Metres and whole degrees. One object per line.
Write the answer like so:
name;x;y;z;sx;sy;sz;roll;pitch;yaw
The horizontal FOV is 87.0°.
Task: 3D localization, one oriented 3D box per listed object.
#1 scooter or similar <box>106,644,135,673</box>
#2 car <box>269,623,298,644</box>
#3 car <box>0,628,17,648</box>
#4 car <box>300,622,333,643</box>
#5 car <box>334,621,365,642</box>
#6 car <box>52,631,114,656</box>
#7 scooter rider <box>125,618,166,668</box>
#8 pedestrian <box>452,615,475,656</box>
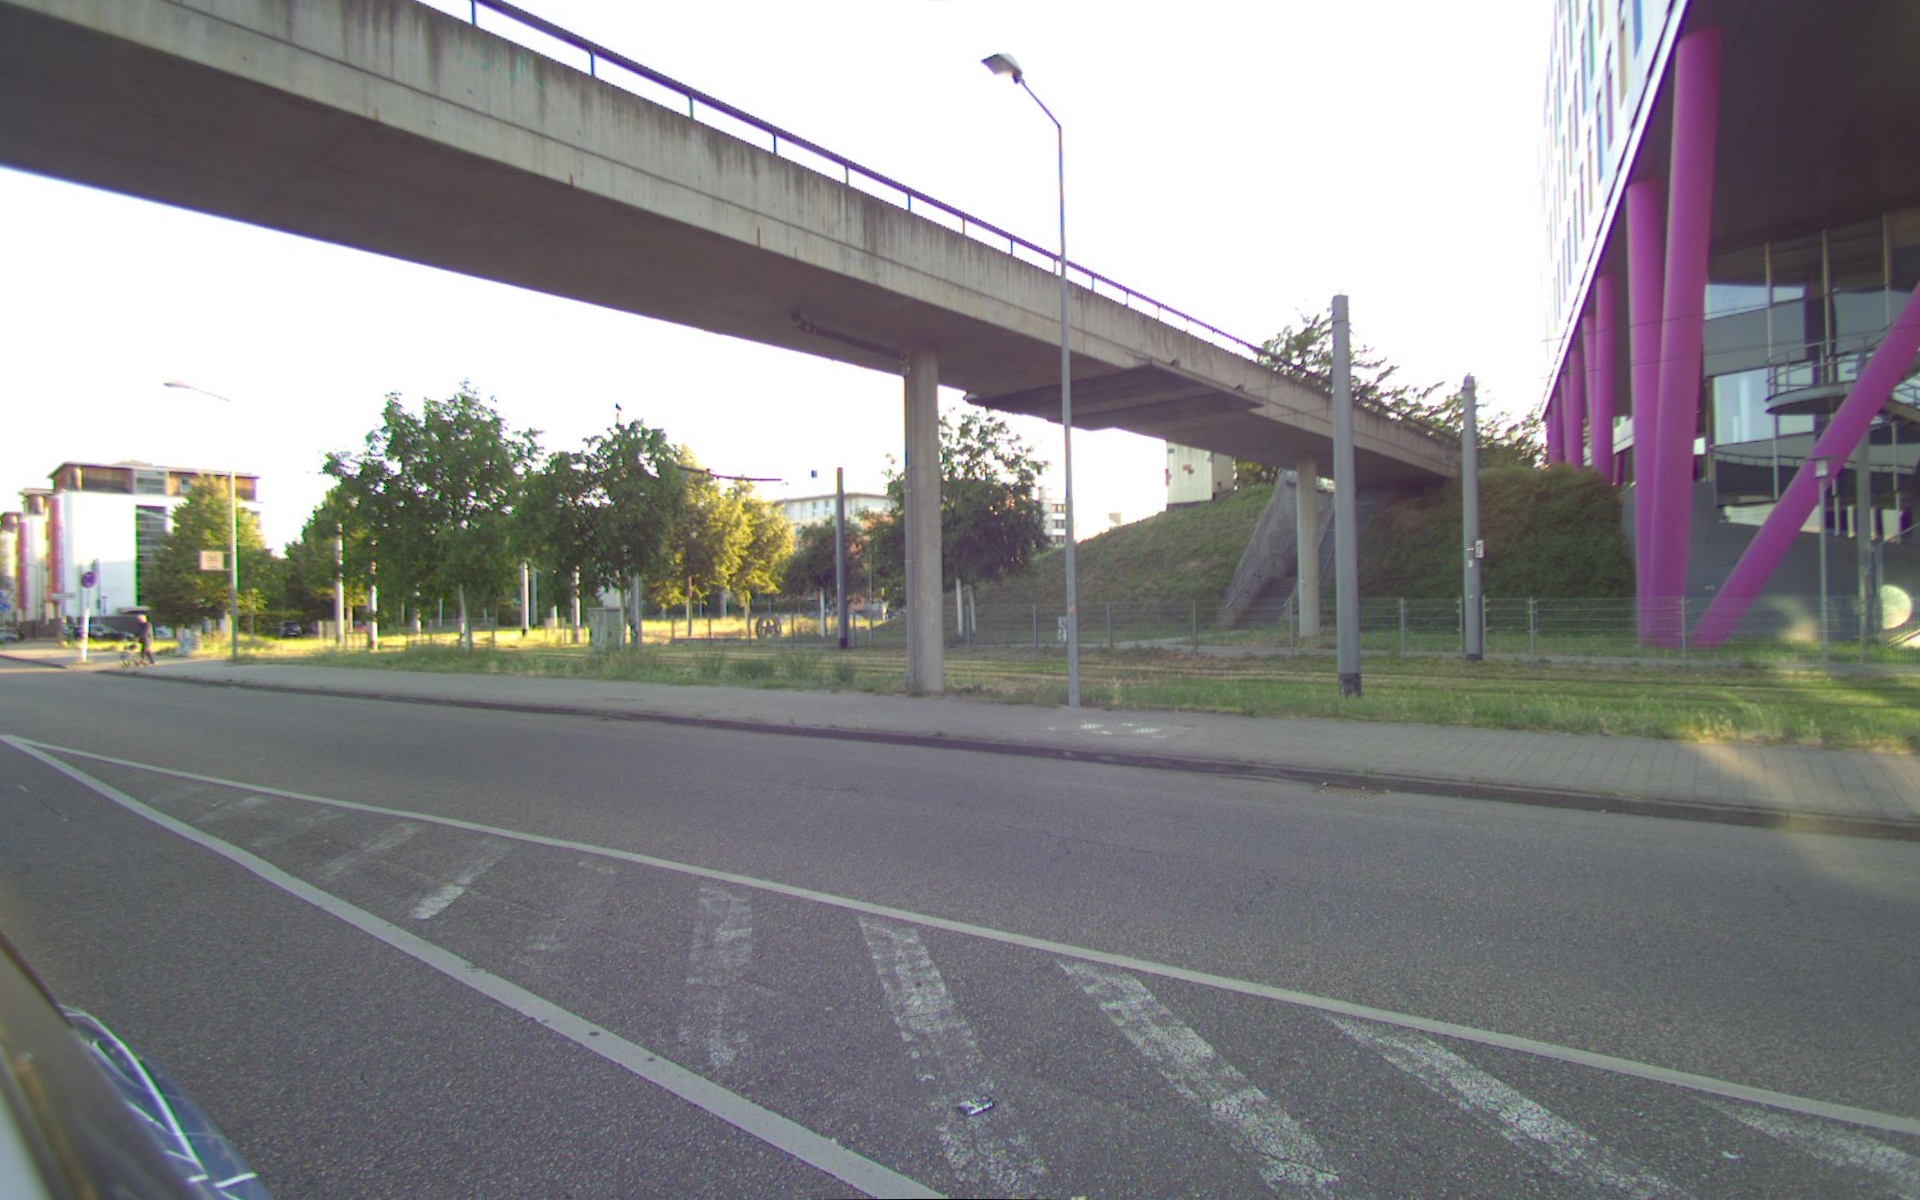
scooter or similar;-27.011;1.872;32.565;0.721;0.902;0.547;0;-1;35
car;-57.162;2.808;85.486;1.842;1.734;3.853;-1;-1;-38
car;-80.764;3.166;83.400;1.839;1.571;4.330;-1;0;42
car;-55.376;2.778;87.048;1.843;1.734;3.851;-1;-1;-40
car;-53.576;2.754;88.772;1.842;1.734;3.853;-1;-1;-38
car;-60.843;2.985;70.298;1.965;1.575;4.013;-1;-1;-20
scooter rider;-26.649;1.400;33.103;0.710;1.589;0.888;-2;-1;35
pedestrian;-20.067;1.442;40.917;0.767;1.623;0.417;-1;-1;-38
